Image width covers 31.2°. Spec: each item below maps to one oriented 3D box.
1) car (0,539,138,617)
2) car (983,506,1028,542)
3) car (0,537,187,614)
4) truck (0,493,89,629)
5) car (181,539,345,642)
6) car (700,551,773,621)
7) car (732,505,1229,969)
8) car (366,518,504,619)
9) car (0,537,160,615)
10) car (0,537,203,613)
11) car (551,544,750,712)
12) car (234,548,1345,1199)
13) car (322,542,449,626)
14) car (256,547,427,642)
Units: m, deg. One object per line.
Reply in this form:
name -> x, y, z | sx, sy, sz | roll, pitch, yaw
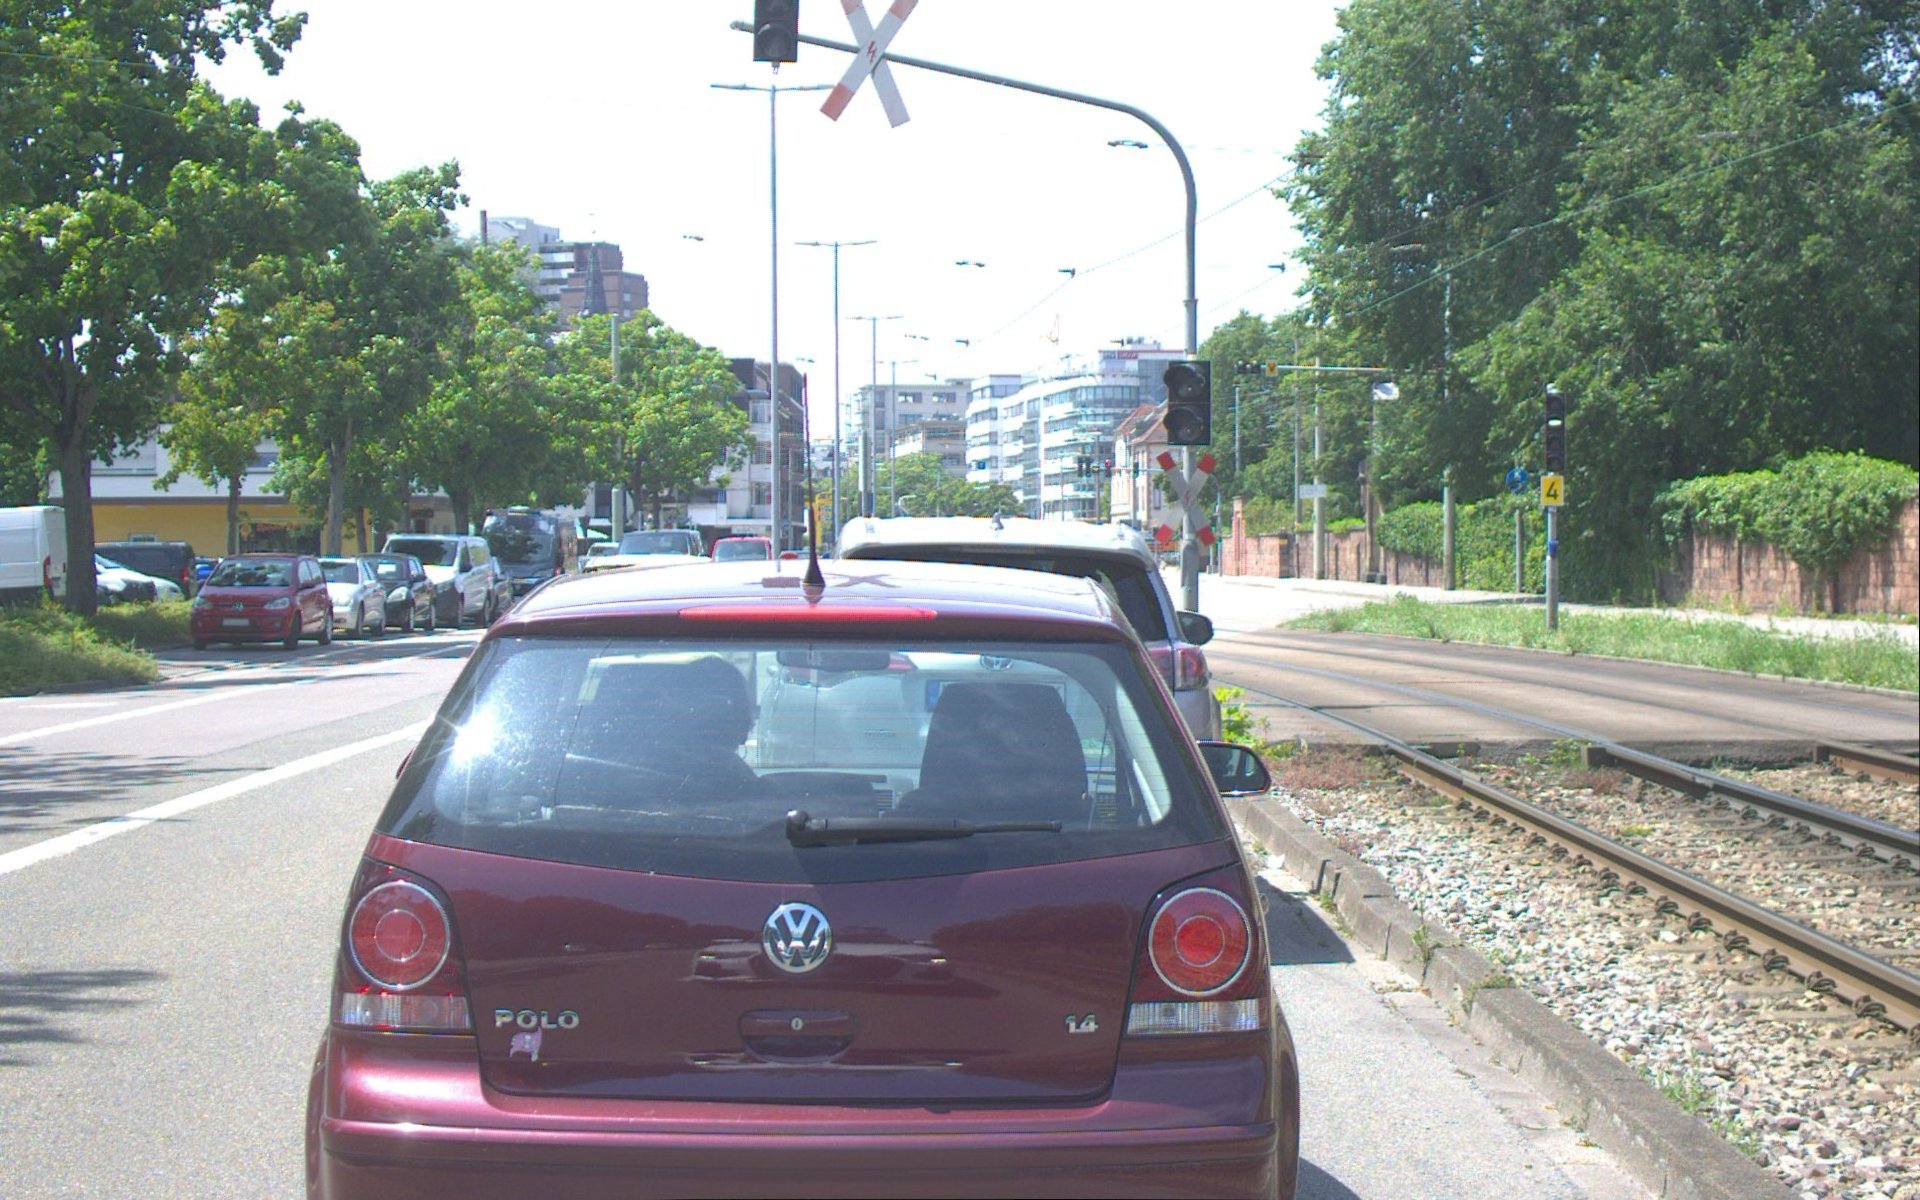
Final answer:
car -> -21.338, -0.509, 79.487 | 4.209, 1.759, 1.857 | -1, 1, -1
car -> 2.444, -4.106, 185.577 | 1.918, 1.904, 4.572 | -1, 1, -5
car -> -21.429, -0.595, 83.900 | 4.718, 1.807, 1.797 | -1, 1, -1
truck -> -21.093, -0.787, 70.946 | 5.578, 2.750, 2.432 | -1, 1, 1
car -> -10.901, -0.163, 53.984 | 1.672, 1.541, 3.726 | 1, 1, 2
car -> -6.476, -0.424, 99.972 | 1.898, 1.919, 4.820 | -2, 1, -2
car -> 0.052, 0.465, 14.568 | 1.795, 1.677, 4.000 | 1, 1, -1
car -> -10.828, -0.671, 71.200 | 1.863, 1.930, 4.805 | 3, 1, 2
car -> -21.589, -0.572, 81.674 | 4.718, 1.807, 1.797 | -1, 1, -1
car -> -21.527, -0.640, 86.150 | 4.718, 1.807, 1.797 | -1, 1, -1
car -> -2.807, 0.218, 31.743 | 1.551, 1.443, 3.412 | 1, 1, -1
car -> -0.275, 0.659, 7.021 | 1.609, 1.493, 4.000 | 1, 1, -1
car -> -10.980, -0.320, 65.923 | 1.614, 1.479, 3.784 | 3, 1, 2
car -> -10.922, -0.130, 61.006 | 1.719, 1.422, 4.770 | -5, 1, 5
